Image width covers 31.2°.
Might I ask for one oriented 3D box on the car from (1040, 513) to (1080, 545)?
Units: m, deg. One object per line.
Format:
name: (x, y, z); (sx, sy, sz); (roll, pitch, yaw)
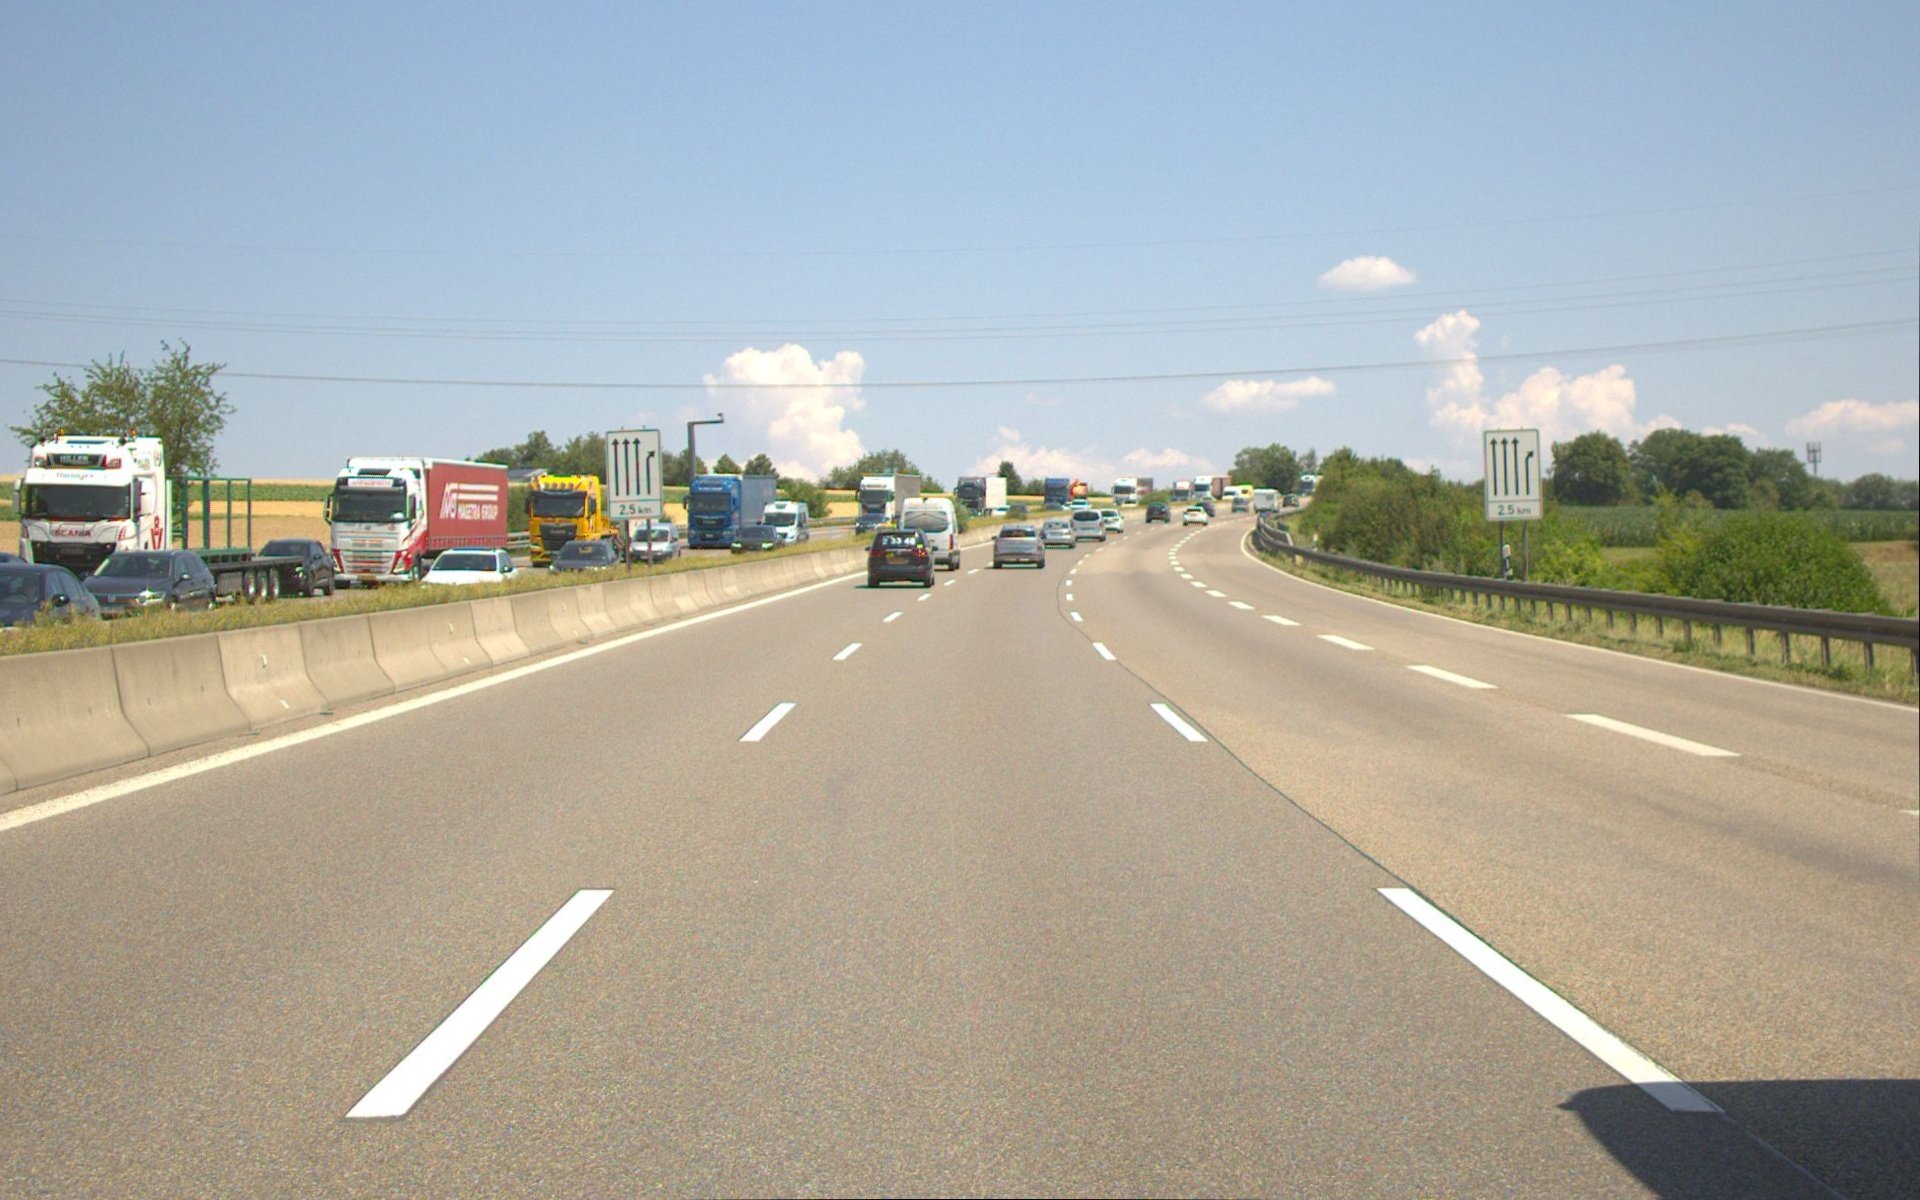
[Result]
car: (5.180, -3.646, 177.985); (1.994, 1.579, 4.000); (-1, 0, 2)

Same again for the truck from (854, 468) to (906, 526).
truck: (-5.997, -7.753, 259.722); (3.133, 4.313, 6.146); (0, 1, 6)

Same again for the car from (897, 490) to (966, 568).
car: (-0.989, -2.515, 122.382); (2.180, 2.616, 4.672); (0, -1, 3)

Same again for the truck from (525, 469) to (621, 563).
truck: (-16.144, -3.525, 143.798); (2.751, 3.824, 7.098); (0, 2, 4)

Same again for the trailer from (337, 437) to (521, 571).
trailer: (-17.259, -3.138, 112.958); (3.086, 4.086, 14.380); (0, 1, 3)

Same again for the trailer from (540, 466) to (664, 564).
trailer: (-15.611, -3.773, 151.037); (2.953, 4.086, 14.380); (0, 2, 4)

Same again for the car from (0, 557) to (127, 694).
car: (-11.590, 0.261, 41.318); (1.993, 1.522, 4.773); (0, 1, 0)

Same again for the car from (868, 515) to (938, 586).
car: (-1.572, -1.409, 96.349); (1.847, 1.854, 4.206); (0, 3, 0)

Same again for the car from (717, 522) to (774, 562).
car: (-9.248, -2.508, 148.535); (2.049, 1.690, 5.256); (0, 1, 1)

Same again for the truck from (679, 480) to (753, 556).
truck: (-13.248, -4.461, 187.089); (3.076, 4.076, 6.935); (0, 1, 4)

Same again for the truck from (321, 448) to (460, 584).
truck: (-17.589, -2.616, 106.601); (3.035, 4.067, 6.315); (0, 1, 2)

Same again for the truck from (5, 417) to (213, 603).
truck: (-18.425, -1.949, 74.776); (2.901, 3.863, 6.178); (0, 1, 1)

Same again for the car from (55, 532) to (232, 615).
car: (-14.884, -0.517, 62.926); (1.993, 1.450, 5.171); (0, 1, 0)

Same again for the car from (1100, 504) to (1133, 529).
car: (10.352, -5.547, 227.675); (1.994, 1.546, 4.000); (1, 2, 5)

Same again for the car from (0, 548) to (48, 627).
car: (-18.389, -0.235, 63.783); (1.656, 1.426, 4.648); (0, 1, 0)

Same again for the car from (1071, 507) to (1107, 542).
car: (7.399, -4.319, 197.773); (1.993, 1.897, 4.000); (0, -1, 1)

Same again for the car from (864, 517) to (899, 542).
car: (-5.085, -4.600, 223.722); (1.913, 1.536, 5.742); (0, 2, 3)

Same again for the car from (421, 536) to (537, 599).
car: (-10.705, -0.711, 76.741); (1.838, 1.280, 4.874); (0, -1, 1)

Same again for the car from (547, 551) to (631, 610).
car: (-10.501, -0.580, 97.552); (1.838, 1.578, 4.554); (0, 2, 1)

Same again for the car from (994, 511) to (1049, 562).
car: (2.272, -2.342, 126.770); (1.993, 1.744, 4.000); (0, -1, 1)

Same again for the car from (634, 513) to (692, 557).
car: (-12.153, -2.677, 140.954); (1.913, 1.766, 4.763); (0, 1, 1)

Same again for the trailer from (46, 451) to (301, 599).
trailer: (-18.321, -1.790, 81.134); (2.858, 3.195, 12.783); (0, 1, 1)
